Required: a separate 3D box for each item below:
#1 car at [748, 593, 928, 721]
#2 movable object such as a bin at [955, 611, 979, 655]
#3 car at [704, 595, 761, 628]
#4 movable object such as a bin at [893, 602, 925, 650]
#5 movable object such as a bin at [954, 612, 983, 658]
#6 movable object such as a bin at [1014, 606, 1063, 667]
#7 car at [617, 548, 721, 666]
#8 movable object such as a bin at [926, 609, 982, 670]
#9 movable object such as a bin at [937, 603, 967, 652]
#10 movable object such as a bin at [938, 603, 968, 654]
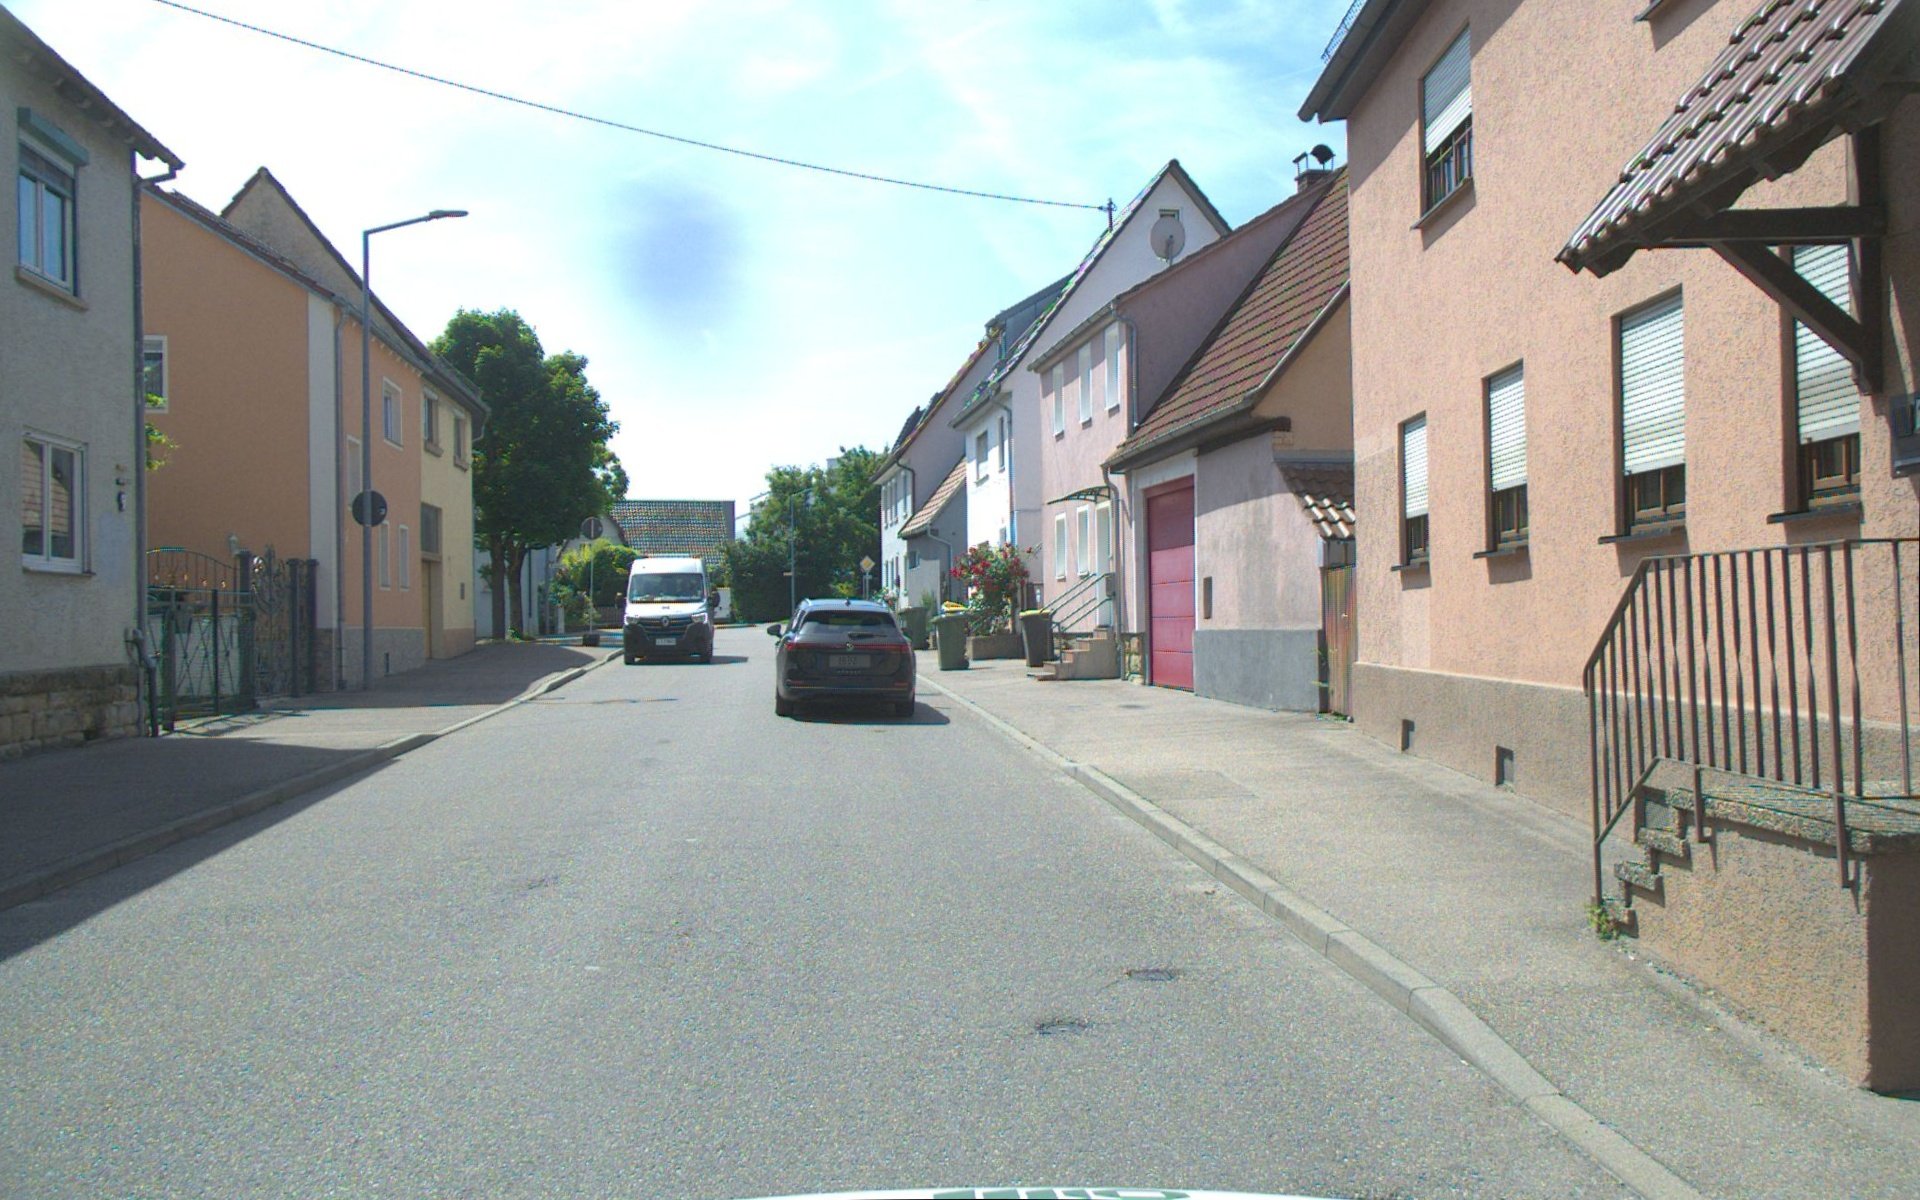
[{"bbox_3d":[-1.740,0.681,22.084,1.809,1.445,4.669,1,1,-12],"label":"car"},{"bbox_3d":[0.167,0.776,39.106,0.494,1.011,0.441,0,0,-8],"label":"movable object such as a bin"},{"bbox_3d":[-14.529,0.708,105.928,2.082,2.049,4.942,0,0,12],"label":"car"},{"bbox_3d":[-1.281,0.641,41.289,0.666,1.175,0.818,0,0,-12],"label":"movable object such as a bin"},{"bbox_3d":[0.193,0.800,38.144,0.581,1.058,0.529,0,0,-8],"label":"movable object such as a bin"},{"bbox_3d":[1.479,0.685,31.328,0.666,1.068,0.833,-5,1,-12],"label":"movable object such as a bin"},{"bbox_3d":[-6.938,0.148,40.002,2.074,2.607,5.819,-1,0,-7],"label":"car"},{"bbox_3d":[-0.120,0.763,32.392,0.861,1.093,0.870,-5,1,-12],"label":"movable object such as a bin"},{"bbox_3d":[-0.202,0.678,41.209,0.652,1.215,0.659,0,0,-8],"label":"movable object such as a bin"},{"bbox_3d":[-0.175,0.691,40.519,0.652,1.215,0.587,0,0,-8],"label":"movable object such as a bin"}]
